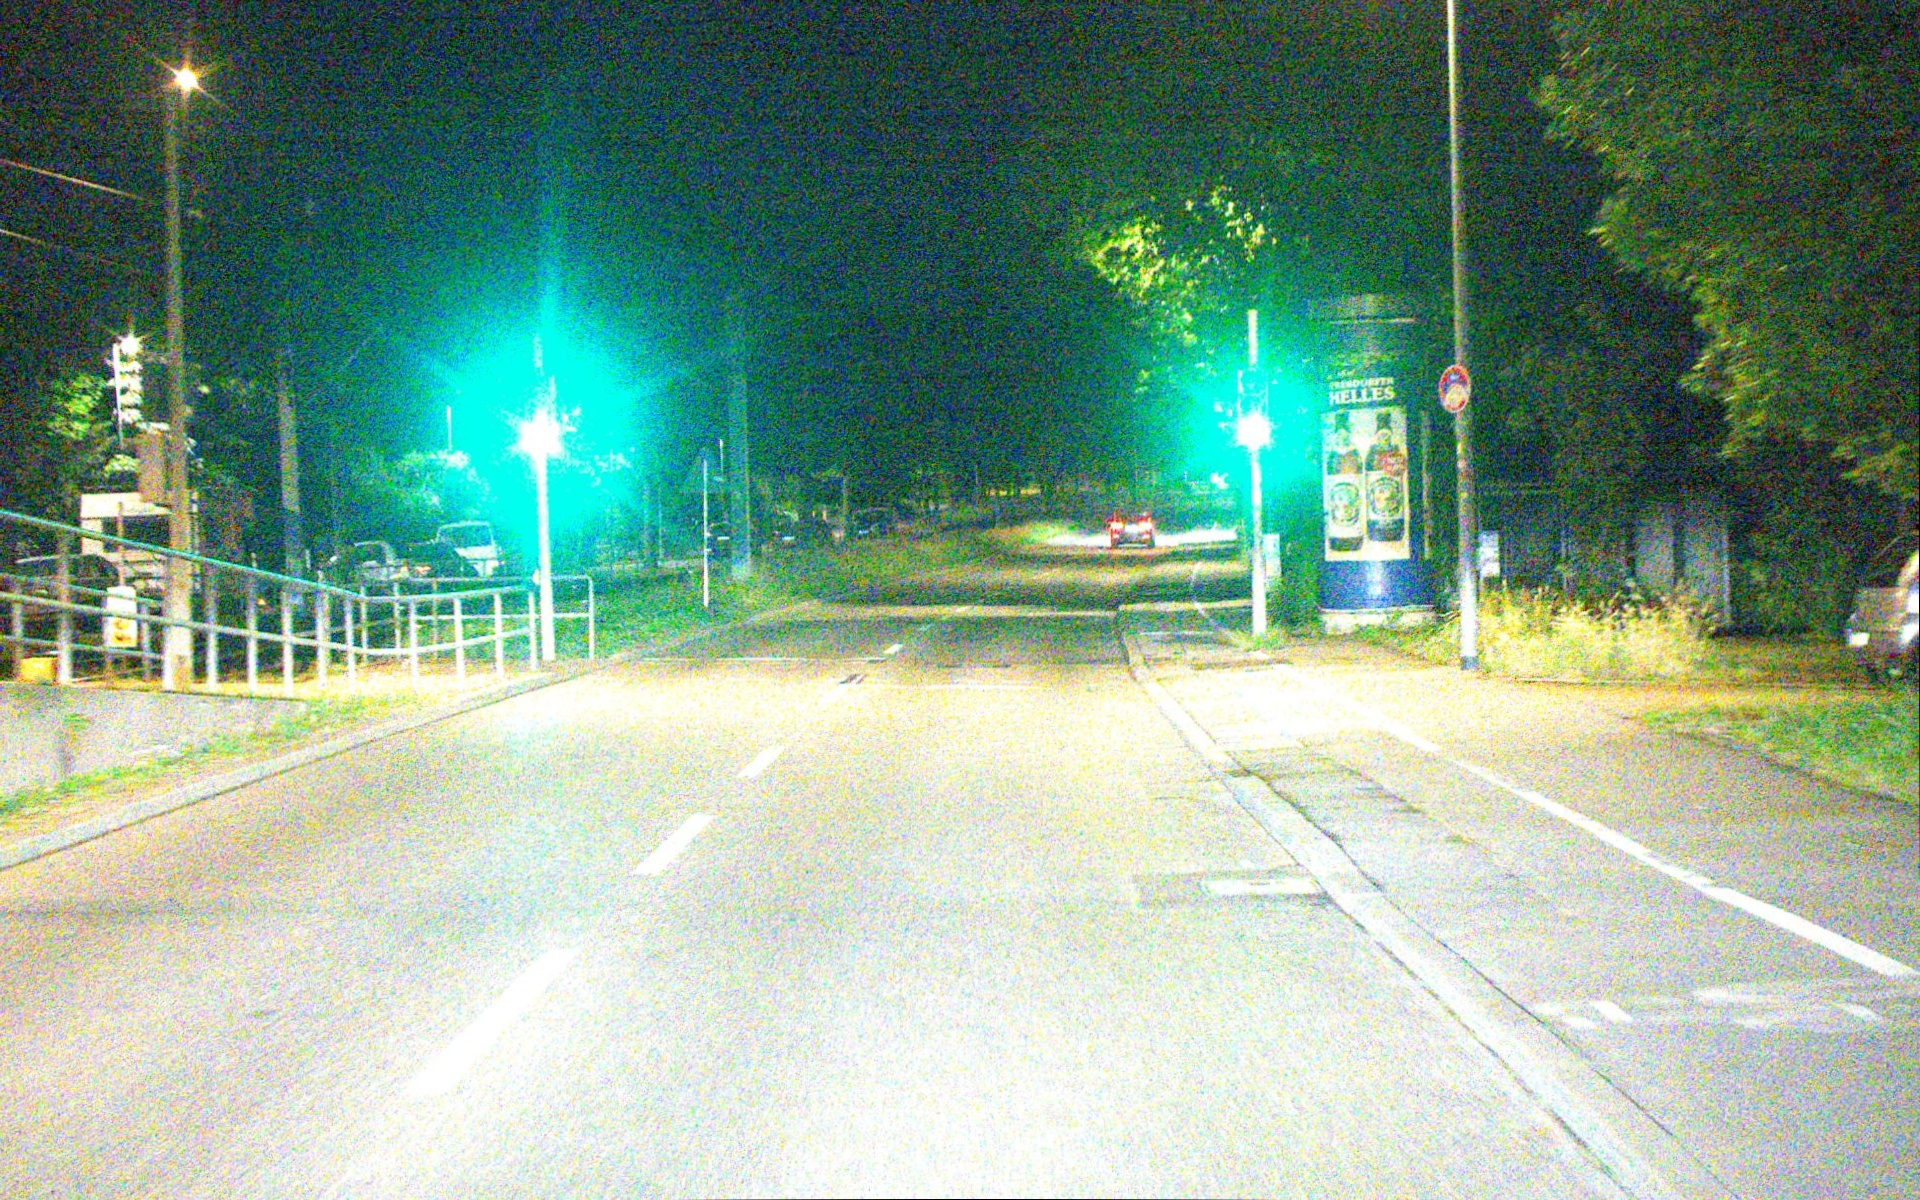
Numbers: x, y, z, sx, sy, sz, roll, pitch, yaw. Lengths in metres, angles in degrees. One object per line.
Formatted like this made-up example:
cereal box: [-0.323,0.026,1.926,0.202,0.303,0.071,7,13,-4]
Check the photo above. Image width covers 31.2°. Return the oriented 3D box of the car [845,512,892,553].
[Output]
car: [-5.018,-3.738,189.051,2.092,2.006,4.000,-5,2,4]

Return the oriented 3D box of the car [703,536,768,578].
car: [-9.063,-1.758,139.141,1.994,1.622,4.677,-1,1,4]

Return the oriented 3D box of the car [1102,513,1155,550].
car: [7.260,-2.941,148.265,2.161,1.577,4.013,0,1,1]

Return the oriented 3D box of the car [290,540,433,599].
car: [-13.779,-0.713,79.295,3.028,1.321,1.534,-1,1,-1]

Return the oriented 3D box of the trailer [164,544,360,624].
trailer: [-14.294,-0.358,70.696,2.420,1.370,4.654,-4,1,9]

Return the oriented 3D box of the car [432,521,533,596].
car: [-12.582,-1.122,90.819,1.857,1.897,4.880,-1,1,1]

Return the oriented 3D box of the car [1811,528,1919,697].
car: [9.187,0.059,28.620,3.764,1.349,1.859,-1,1,2]

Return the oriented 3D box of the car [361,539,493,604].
car: [-13.086,-0.716,84.765,1.902,1.517,5.170,-1,1,7]

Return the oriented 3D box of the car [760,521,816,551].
car: [-7.915,-2.943,158.572,1.994,1.333,5.432,-1,1,4]

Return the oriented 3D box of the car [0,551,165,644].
car: [-14.793,-0.065,57.410,1.646,1.335,4.543,-5,1,3]

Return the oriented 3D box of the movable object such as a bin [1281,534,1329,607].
movable object such as a bin: [5.799,-0.501,57.757,0.724,1.196,0.719,-1,1,11]

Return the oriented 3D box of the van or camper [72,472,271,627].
van or camper: [-14.555,-0.957,63.821,2.272,2.638,5.665,-3,1,0]
